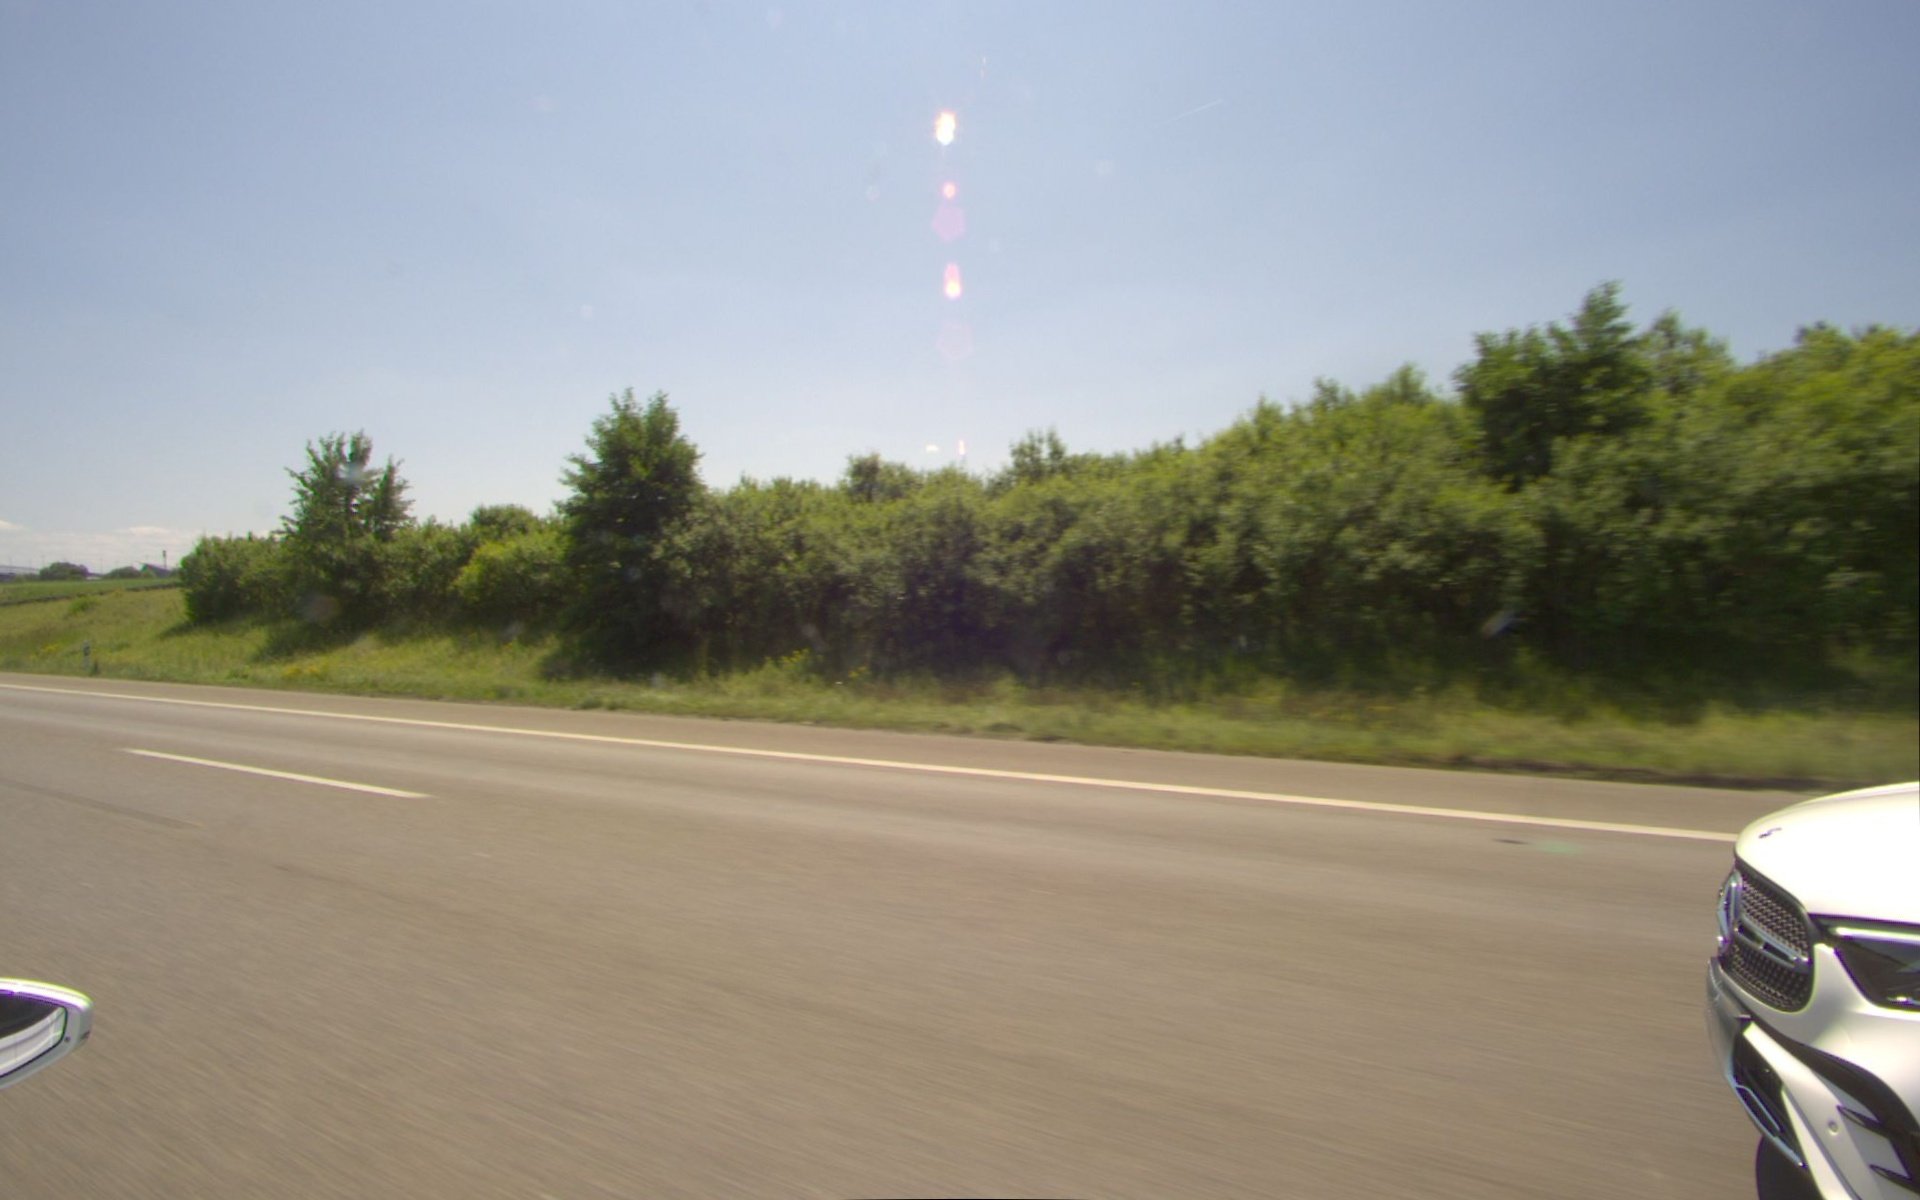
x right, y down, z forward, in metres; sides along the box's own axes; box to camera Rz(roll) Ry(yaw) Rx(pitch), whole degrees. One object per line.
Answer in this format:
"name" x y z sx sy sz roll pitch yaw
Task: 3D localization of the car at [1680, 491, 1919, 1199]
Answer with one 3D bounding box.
"car" 3.902 0.659 1.389 4.569 1.677 1.902 -1 -2 32
